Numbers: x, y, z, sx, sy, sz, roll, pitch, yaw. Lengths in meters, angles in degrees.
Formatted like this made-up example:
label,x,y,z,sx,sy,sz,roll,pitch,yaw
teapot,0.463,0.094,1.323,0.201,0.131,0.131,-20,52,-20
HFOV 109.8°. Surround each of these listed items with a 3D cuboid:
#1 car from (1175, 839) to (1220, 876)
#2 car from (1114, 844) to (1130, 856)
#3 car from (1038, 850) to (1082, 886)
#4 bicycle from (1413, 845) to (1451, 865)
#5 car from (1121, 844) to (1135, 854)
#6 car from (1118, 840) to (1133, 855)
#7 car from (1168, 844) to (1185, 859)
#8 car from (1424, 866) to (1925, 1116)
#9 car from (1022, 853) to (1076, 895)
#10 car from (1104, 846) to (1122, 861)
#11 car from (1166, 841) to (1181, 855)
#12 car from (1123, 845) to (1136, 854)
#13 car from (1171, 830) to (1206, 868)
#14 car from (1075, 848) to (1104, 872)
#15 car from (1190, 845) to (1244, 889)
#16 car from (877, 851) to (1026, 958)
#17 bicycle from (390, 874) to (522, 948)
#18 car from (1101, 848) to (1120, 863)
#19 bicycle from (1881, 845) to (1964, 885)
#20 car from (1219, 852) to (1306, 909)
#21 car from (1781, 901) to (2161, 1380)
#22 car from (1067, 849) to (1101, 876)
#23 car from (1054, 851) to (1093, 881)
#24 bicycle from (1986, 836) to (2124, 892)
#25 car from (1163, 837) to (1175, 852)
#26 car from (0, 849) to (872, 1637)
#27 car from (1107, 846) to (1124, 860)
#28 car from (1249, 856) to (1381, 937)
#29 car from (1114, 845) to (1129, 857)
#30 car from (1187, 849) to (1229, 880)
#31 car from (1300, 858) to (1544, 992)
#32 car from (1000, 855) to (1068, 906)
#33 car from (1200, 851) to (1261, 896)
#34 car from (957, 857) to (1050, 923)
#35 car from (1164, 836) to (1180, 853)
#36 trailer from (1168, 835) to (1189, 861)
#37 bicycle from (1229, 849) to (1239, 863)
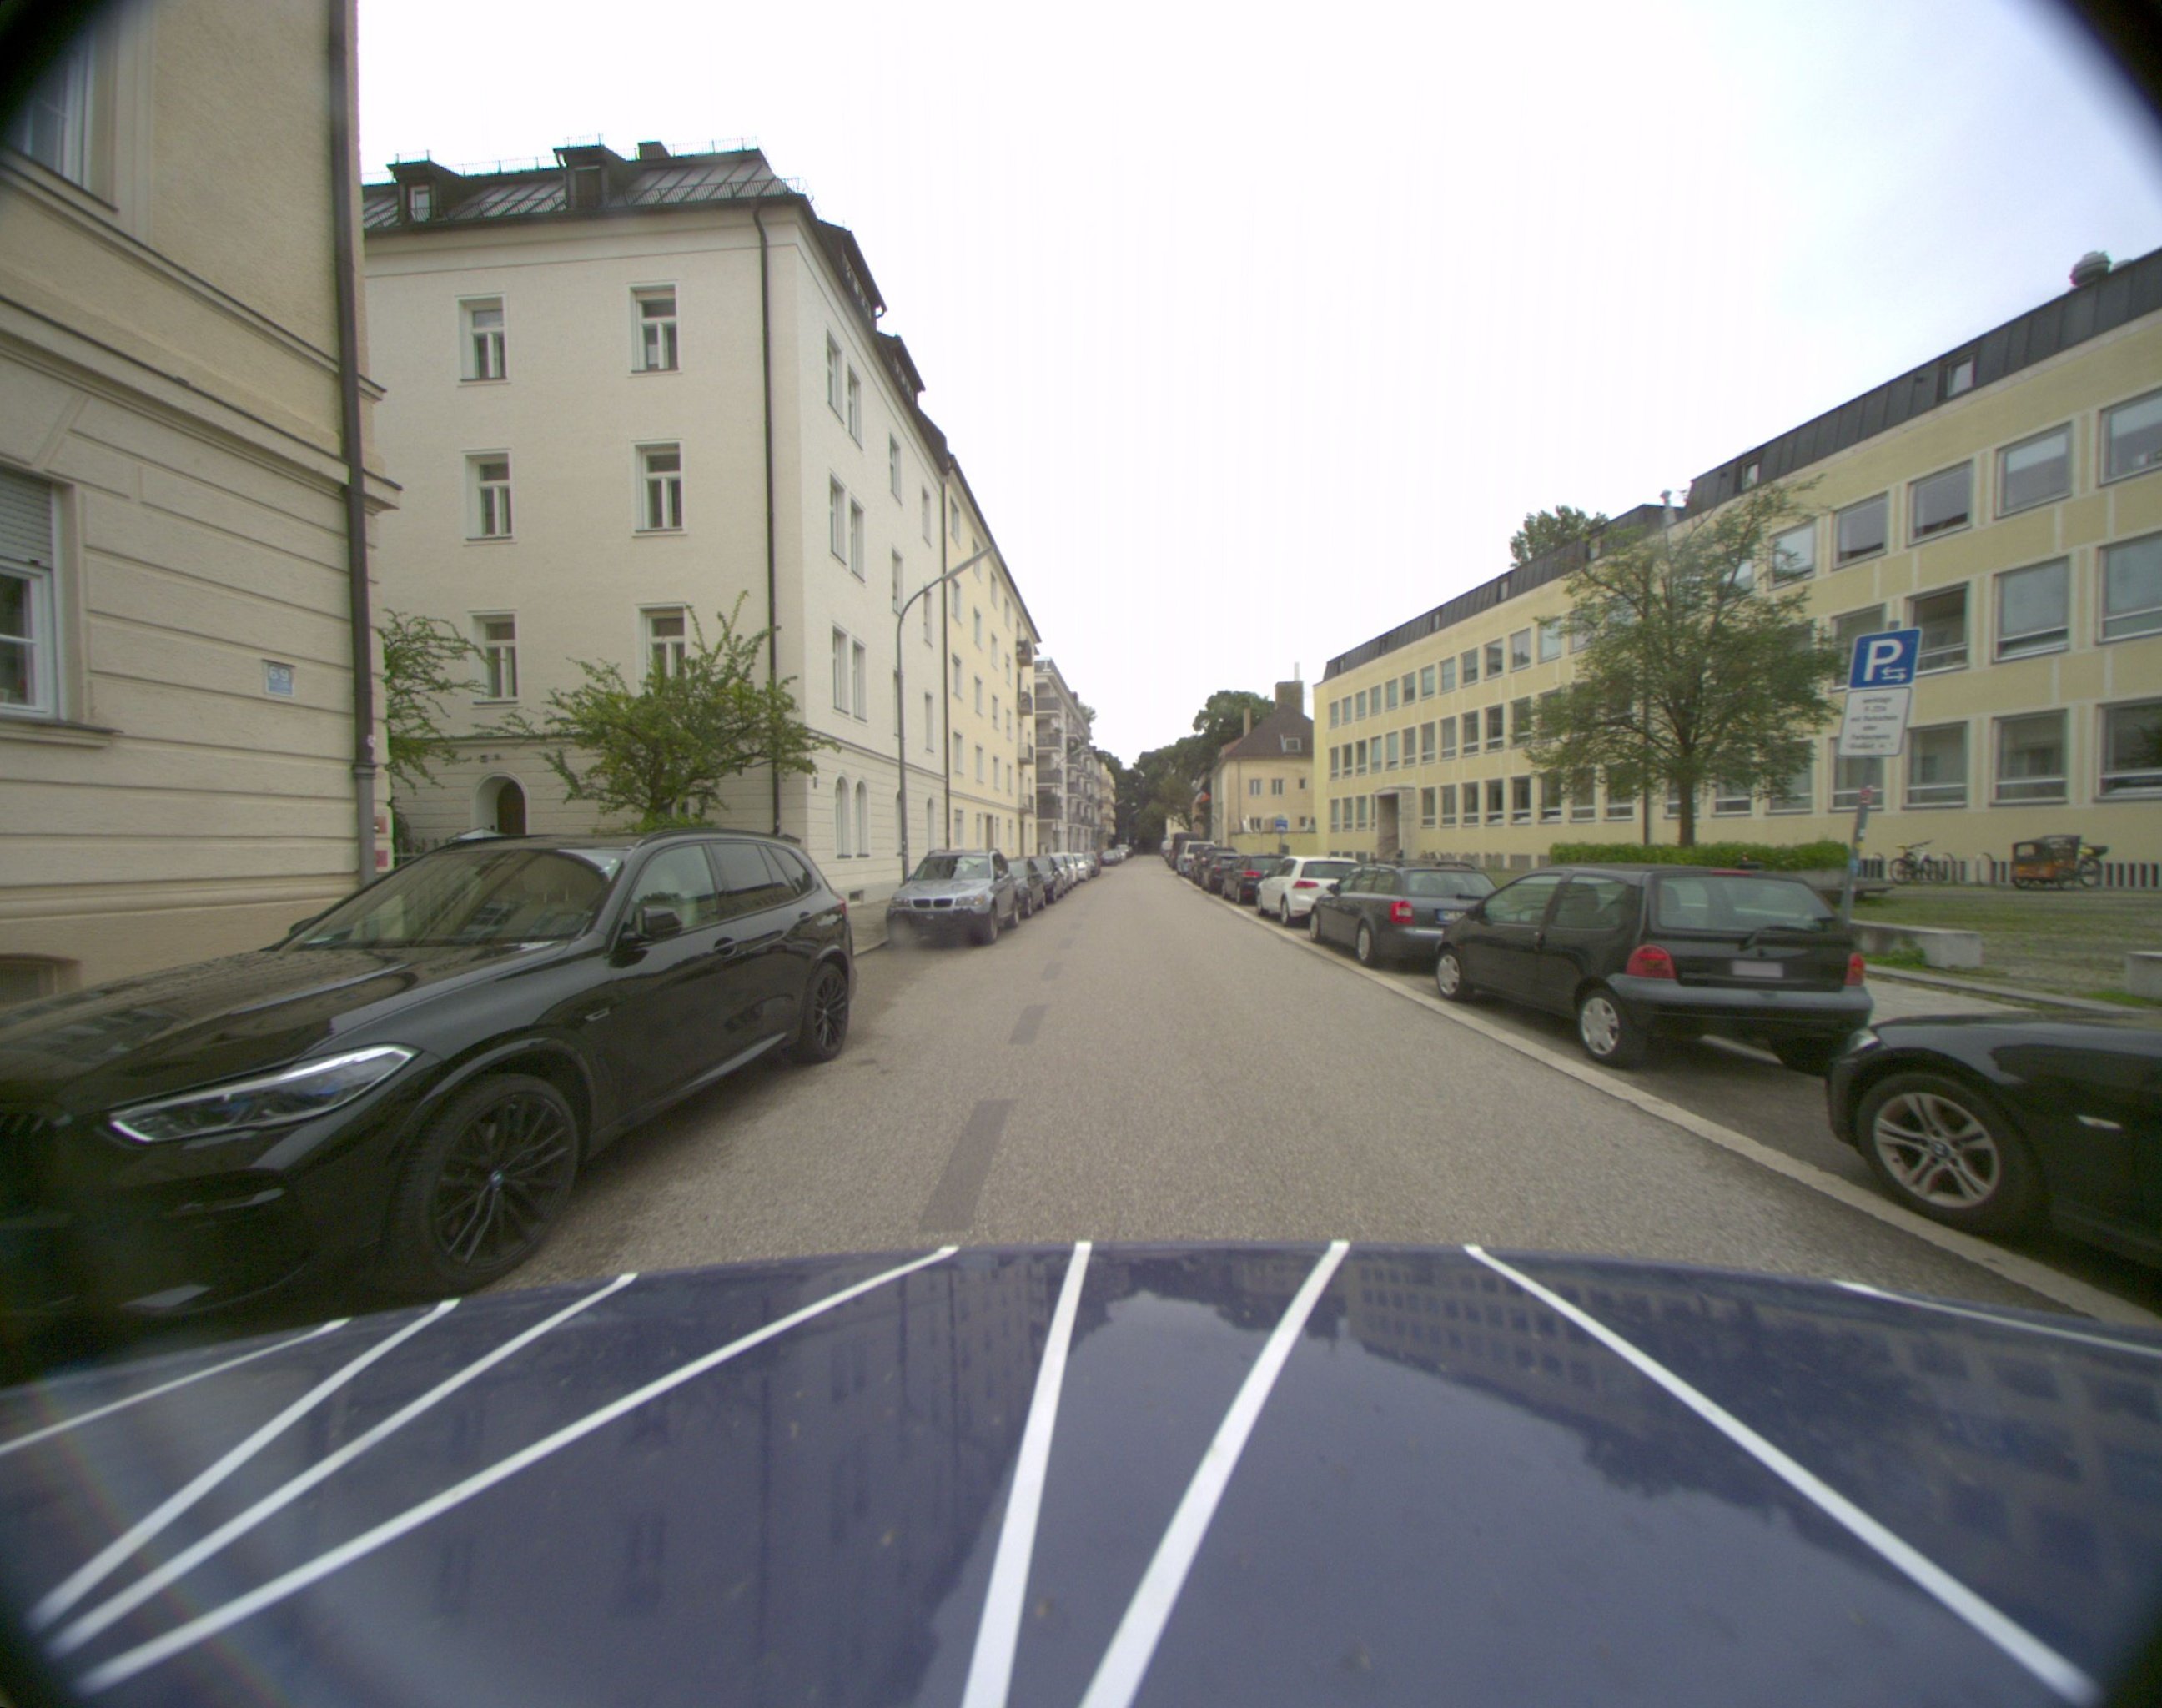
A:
label,x,y,z,sx,sy,sz,roll,pitch,yaw
car,6.521,0.134,42.934,1.933,1.968,5.022,0,1,2
car,5.479,-0.556,101.392,1.765,1.449,3.749,-1,1,8
car,-0.896,0.592,34.898,1.683,1.473,4.167,-1,1,3
bicycle,19.288,0.073,41.764,1.953,1.008,0.580,-2,1,-13
car,7.178,-0.755,115.607,1.870,1.455,4.269,-1,1,6
car,6.465,-0.969,110.007,1.870,2.002,4.269,-1,1,6
car,10.385,-0.281,82.947,1.767,1.505,3.843,0,1,5
car,4.465,0.890,6.425,1.660,1.445,3.312,1,1,1
car,-1.165,0.710,29.460,1.683,1.419,4.167,-1,1,3
car,3.301,-0.046,78.375,1.765,1.449,3.418,-1,1,4
car,12.137,-0.820,99.841,1.817,1.724,3.650,-1,1,5
car,8.063,-0.763,125.723,1.870,1.455,4.269,-1,1,6
car,7.867,-0.367,56.053,2.302,2.630,5.655,0,1,6
car,0.587,0.379,50.293,1.683,1.489,3.824,-1,1,4
car,5.787,0.491,32.752,1.747,1.656,4.449,2,1,4
car,-2.234,0.797,14.354,1.726,1.625,4.458,-1,1,4
bicycle,-10.192,0.911,12.405,1.875,1.088,0.581,1,2,10
car,2.829,0.131,73.813,1.784,1.386,4.246,-1,1,2
bicycle,22.852,0.288,20.637,1.954,1.008,0.625,-1,1,-12
car,5.222,0.707,22.321,1.660,1.445,3.974,1,1,1
car,4.290,0.968,1.422,1.803,1.398,4.454,1,1,0
car,0.232,0.476,44.850,1.683,1.402,4.422,-1,1,4
car,-0.314,0.571,39.527,1.683,1.402,4.443,-1,1,4
bicycle,23.060,0.223,18.009,2.443,1.241,1.055,-1,1,-12
car,14.640,-1.616,126.516,1.880,2.539,4.371,-1,1,7
car,-2.969,0.888,4.173,1.873,1.707,4.866,-2,1,5
car,3.785,-0.135,83.015,1.765,1.449,3.748,-1,1,4
car,4.879,0.807,16.435,1.660,1.445,4.073,1,1,1
car,5.067,-0.407,94.849,1.765,1.449,3.748,-1,1,4
car,6.332,0.503,38.197,1.747,1.379,3.919,-2,1,5
car,4.590,0.835,11.034,1.759,1.445,4.396,1,1,3
car,-1.415,0.787,24.622,1.683,1.419,4.391,-1,1,3
car,5.346,0.639,27.581,1.684,1.445,3.870,1,1,4
car,-1.869,0.833,19.560,1.683,1.419,4.087,-1,1,4
car,13.193,-1.393,110.106,2.103,2.418,4.551,-1,1,7
trailer,9.955,-0.653,77.495,1.816,2.521,3.390,3,2,10
bicycle,13.015,0.159,64.510,0.580,1.125,1.743,-1,1,3
